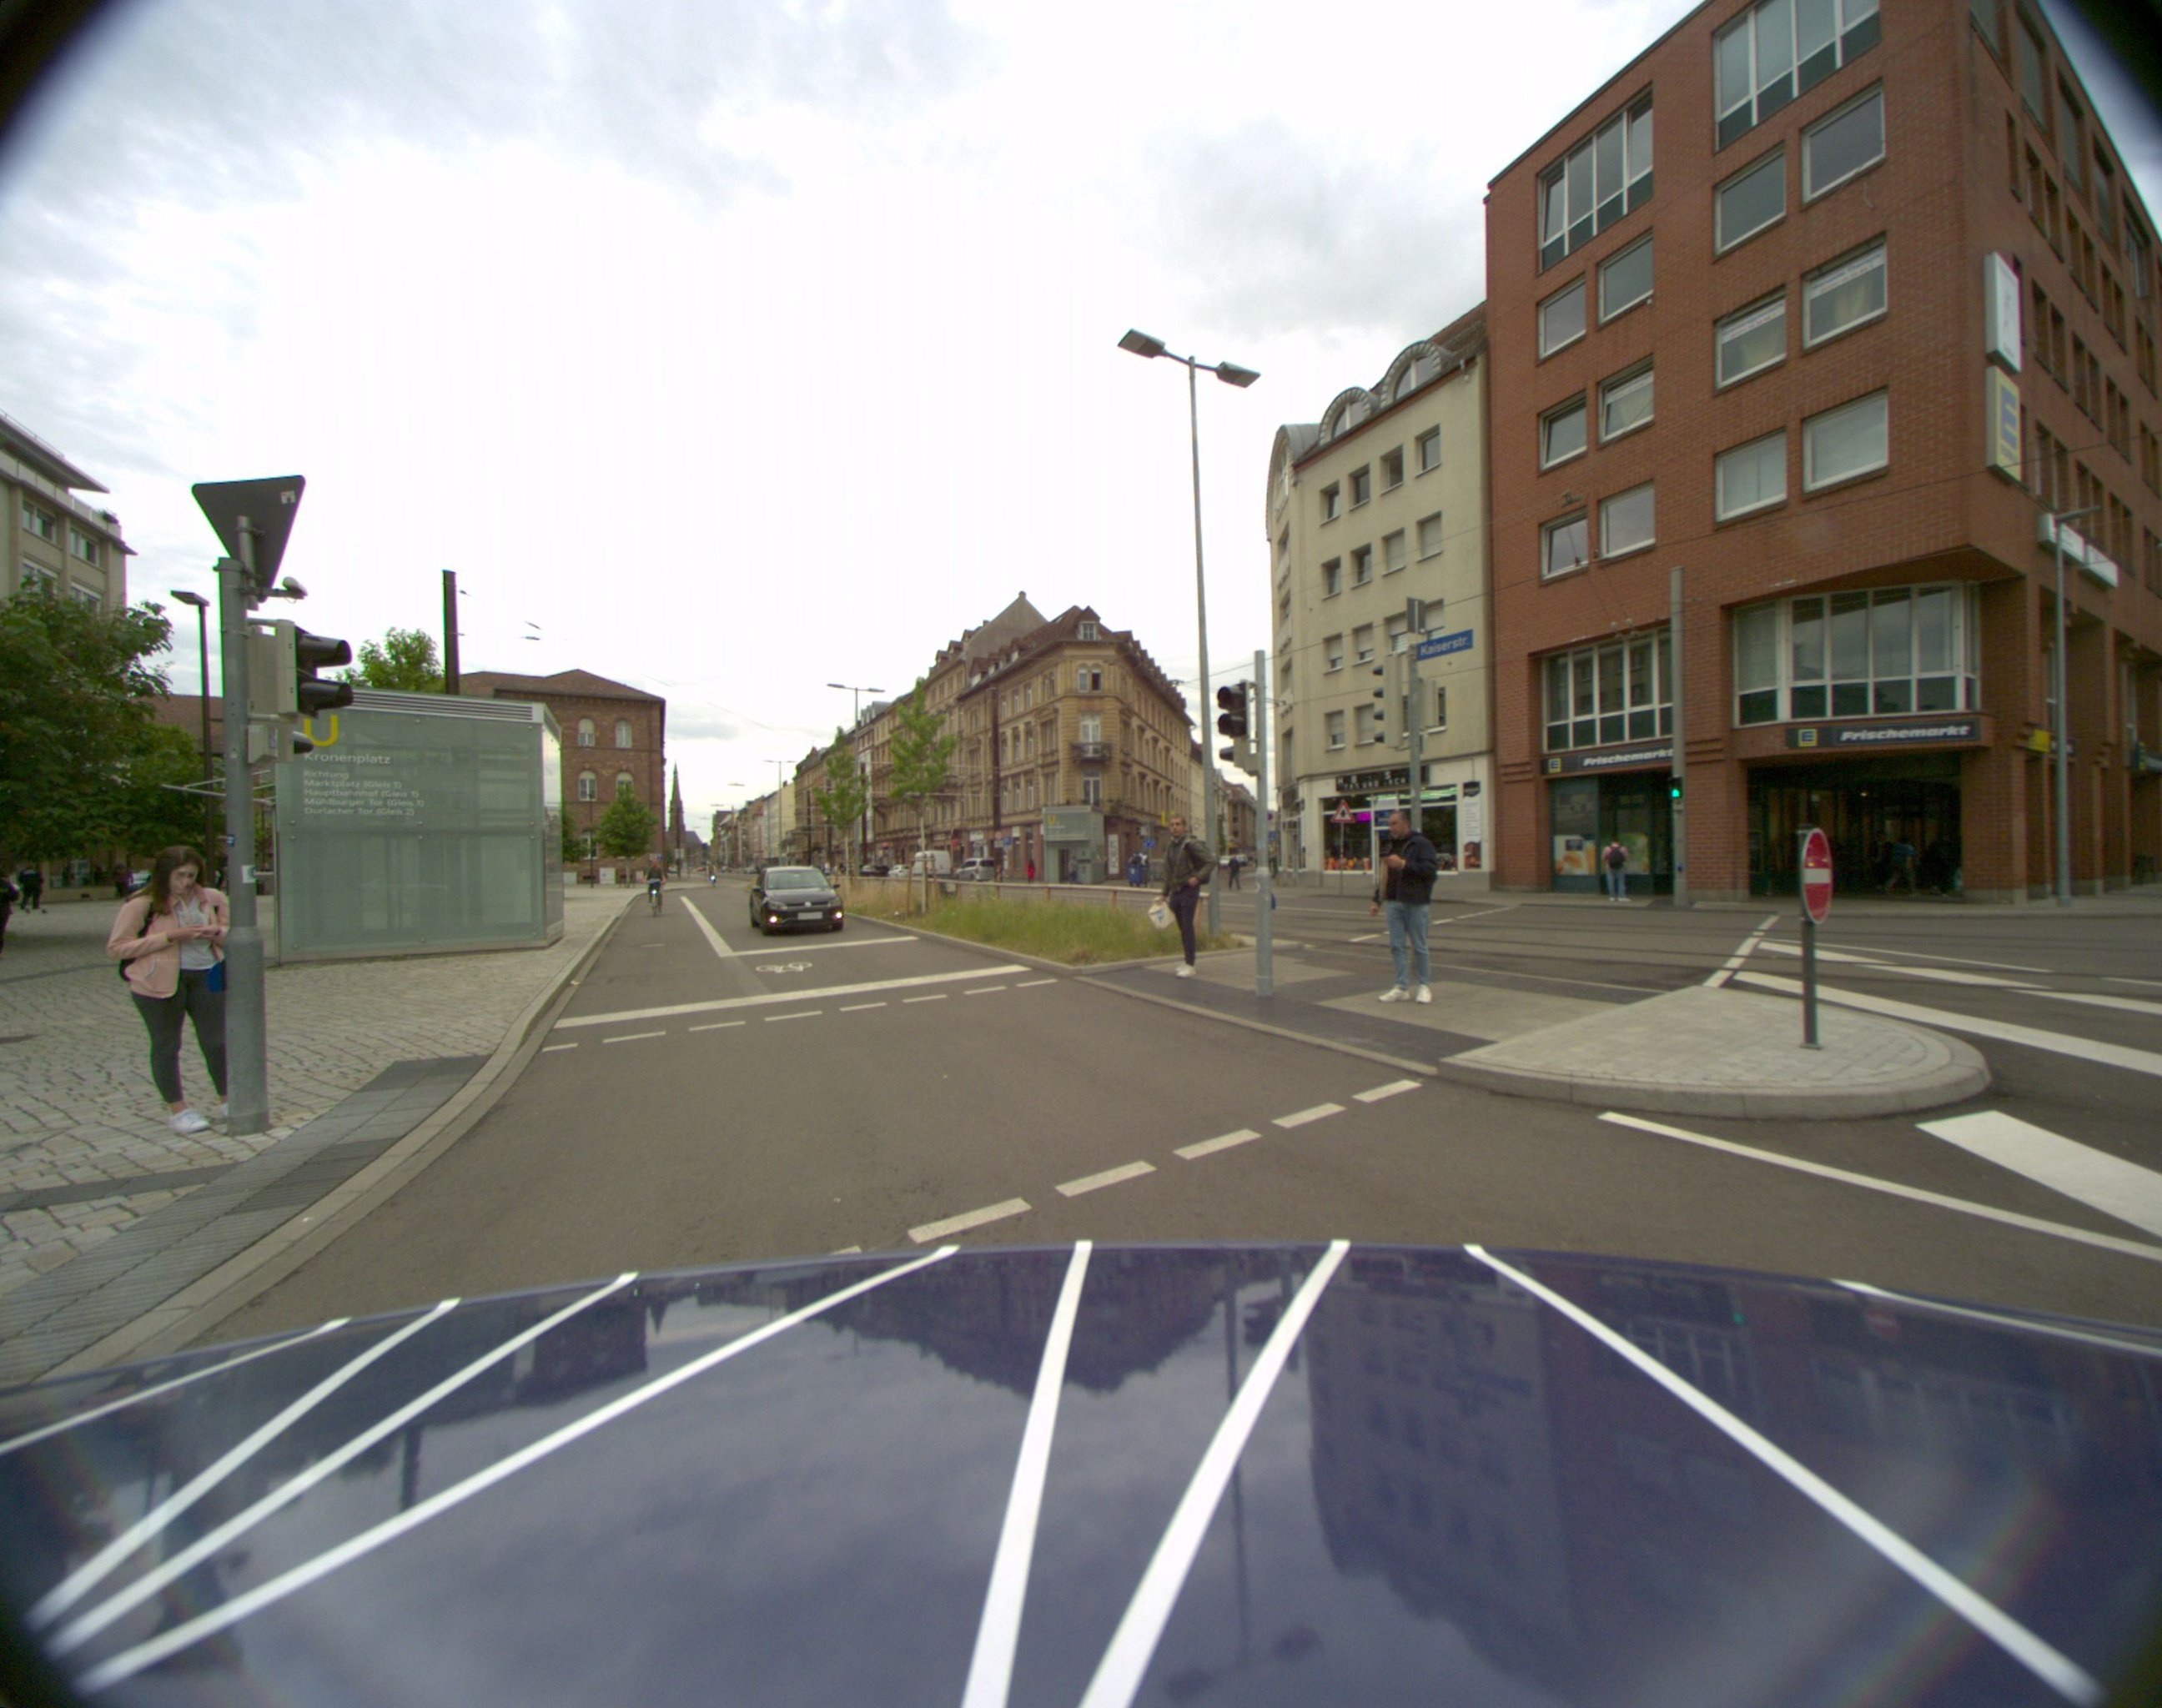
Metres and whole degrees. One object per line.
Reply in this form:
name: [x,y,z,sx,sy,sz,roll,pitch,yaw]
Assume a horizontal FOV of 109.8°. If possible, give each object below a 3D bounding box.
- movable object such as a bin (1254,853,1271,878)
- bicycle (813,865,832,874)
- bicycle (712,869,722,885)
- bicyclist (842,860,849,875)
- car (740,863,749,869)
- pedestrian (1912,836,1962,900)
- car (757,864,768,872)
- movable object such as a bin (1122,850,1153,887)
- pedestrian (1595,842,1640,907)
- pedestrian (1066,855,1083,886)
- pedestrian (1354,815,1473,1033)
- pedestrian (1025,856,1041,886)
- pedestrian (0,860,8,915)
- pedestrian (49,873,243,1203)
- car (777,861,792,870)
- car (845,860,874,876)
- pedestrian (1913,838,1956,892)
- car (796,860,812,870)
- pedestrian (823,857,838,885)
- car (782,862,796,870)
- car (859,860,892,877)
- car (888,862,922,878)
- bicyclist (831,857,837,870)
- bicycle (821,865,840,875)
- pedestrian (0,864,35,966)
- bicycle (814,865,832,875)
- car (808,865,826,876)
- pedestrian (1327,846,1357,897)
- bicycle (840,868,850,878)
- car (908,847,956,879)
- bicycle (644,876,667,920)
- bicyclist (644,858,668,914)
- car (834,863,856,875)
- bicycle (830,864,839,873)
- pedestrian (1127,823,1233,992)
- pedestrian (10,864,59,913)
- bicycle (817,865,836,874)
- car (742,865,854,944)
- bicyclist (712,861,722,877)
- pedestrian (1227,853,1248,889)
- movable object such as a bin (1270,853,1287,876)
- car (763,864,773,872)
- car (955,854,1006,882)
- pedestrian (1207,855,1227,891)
movable object such as a bin: [11.590,0.723,48.572,0.945,1.492,1.240,-2,1,12]
bicycle: [-35.301,2.154,103.855,2.293,1.196,0.703,1,-1,-28]
bicycle: [-27.125,1.699,56.637,0.473,1.151,2.267,-1,0,-29]
bicyclist: [-23.545,1.366,76.023,0.493,1.531,0.810,-1,0,-30]
car: [-88.550,3.113,199.906,1.872,1.553,3.991,1,-1,-29]
pedestrian: [23.352,0.359,20.738,0.747,1.674,0.797,-3,2,-33]
car: [-72.845,3.167,173.685,1.932,1.722,3.818,-2,1,-29]
movable object such as a bin: [3.066,0.782,41.389,1.035,1.970,1.614,-1,2,-22]
pedestrian: [14.185,0.525,20.094,0.798,1.674,0.571,-2,2,13]
pedestrian: [-0.344,0.926,42.470,0.825,1.677,0.722,0,1,-11]
pedestrian: [3.063,0.593,7.029,0.613,1.879,0.797,-2,2,-31]
pedestrian: [-2.777,0.962,43.970,0.724,1.677,0.660,-1,2,-39]
pedestrian: [-37.182,1.152,25.621,0.775,1.874,0.853,-2,1,10]
pedestrian: [-5.447,0.998,4.468,0.525,1.751,0.600,-3,1,-37]
car: [-53.695,2.153,137.584,1.833,1.512,4.535,0,-1,-29]
car: [-24.815,1.589,85.118,1.822,1.679,5.019,0,-1,-32]
pedestrian: [27.293,0.341,24.297,0.747,1.674,0.797,-3,2,-33]
car: [-42.664,1.654,116.997,1.752,1.479,3.912,0,-1,-28]
pedestrian: [-17.636,1.198,53.562,0.874,1.890,0.771,0,-1,-30]
car: [-51.401,2.131,133.601,1.752,1.456,4.037,0,-1,-29]
car: [-20.897,1.433,77.008,1.929,1.679,5.040,1,-1,-30]
car: [-16.043,1.447,69.142,1.780,1.414,4.155,1,-1,-30]
bicyclist: [-26.414,0.991,81.268,0.481,1.398,0.810,-1,0,-30]
bicycle: [-33.106,2.078,100.460,2.293,1.321,0.665,1,-1,-28]
pedestrian: [-18.448,1.016,12.836,0.628,1.674,0.868,0,0,-33]
bicycle: [-35.505,2.205,104.522,2.293,1.196,0.546,-2,1,-28]
car: [-37.583,2.346,108.062,1.752,1.524,4.216,0,-1,-29]
pedestrian: [8.869,0.572,25.781,0.663,1.677,0.720,-1,2,-41]
bicycle: [-23.668,1.917,76.226,0.478,1.015,1.908,-1,0,-30]
car: [-12.247,0.765,62.246,2.063,2.472,5.652,1,-1,-30]
bicycle: [-13.060,1.323,23.344,0.525,1.253,1.937,-1,0,-28]
bicyclist: [-13.065,0.967,23.351,0.571,1.674,0.792,-2,1,-27]
car: [-28.656,1.815,92.073,1.752,1.479,3.911,0,-1,-30]
bicycle: [-26.383,1.534,81.246,0.481,1.015,1.907,-1,0,-30]
pedestrian: [1.178,0.595,9.065,0.901,1.879,0.797,-3,2,-31]
pedestrian: [-37.421,1.230,27.173,0.775,1.741,0.718,1,-1,10]
bicycle: [-34.474,2.115,102.830,2.293,1.196,0.703,1,-1,-28]
car: [-6.524,1.041,17.281,1.751,1.538,3.642,-2,0,-30]
bicyclist: [-27.157,1.084,56.637,0.588,1.164,0.661,-1,0,-30]
pedestrian: [7.358,0.793,35.752,0.662,1.677,0.922,0,1,-14]
movable object such as a bin: [12.559,0.661,48.326,1.009,1.397,1.240,-2,1,12]
car: [-67.586,3.067,164.088,1.708,1.662,4.172,-2,1,-28]
car: [-7.021,0.982,52.912,1.912,1.853,4.510,1,-1,-30]
pedestrian: [6.397,0.877,35.714,0.662,1.677,0.722,0,1,-14]
